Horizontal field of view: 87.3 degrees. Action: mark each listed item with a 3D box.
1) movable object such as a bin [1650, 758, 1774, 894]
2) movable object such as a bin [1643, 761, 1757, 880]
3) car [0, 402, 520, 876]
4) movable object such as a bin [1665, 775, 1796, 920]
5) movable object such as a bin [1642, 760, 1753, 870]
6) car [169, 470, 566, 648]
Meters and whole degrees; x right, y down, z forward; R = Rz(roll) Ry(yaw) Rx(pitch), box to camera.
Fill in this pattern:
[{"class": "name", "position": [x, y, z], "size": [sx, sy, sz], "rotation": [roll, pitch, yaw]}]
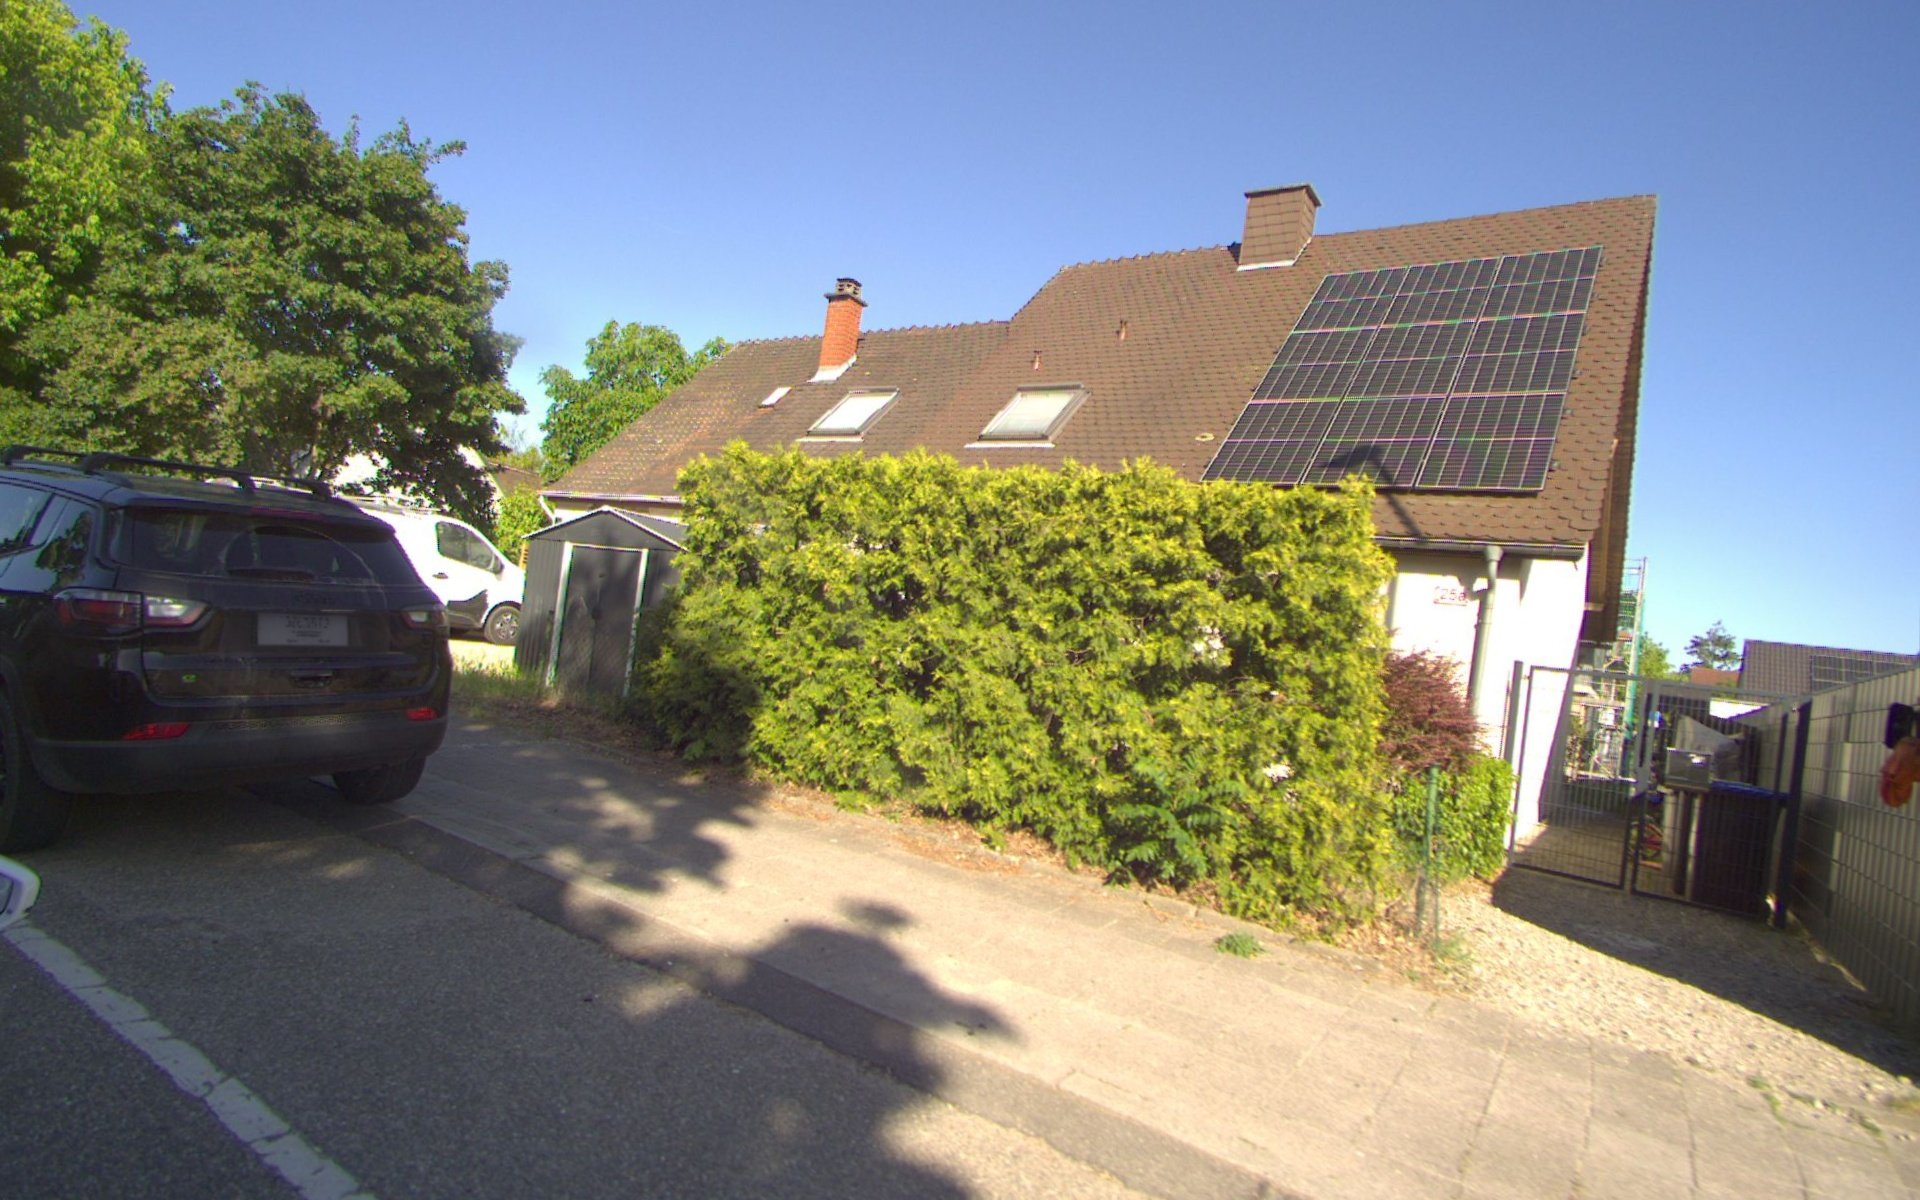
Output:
[{"class": "movable object such as a bin", "position": [7.504, 2.222, 10.082], "size": [0.792, 1.130, 0.949], "rotation": [7, -3, 31]}, {"class": "movable object such as a bin", "position": [8.231, 2.429, 11.239], "size": [0.834, 1.098, 0.954], "rotation": [7, -3, 31]}, {"class": "car", "position": [-4.640, 0.039, 5.515], "size": [4.222, 1.744, 1.782], "rotation": [6, -2, 30]}, {"class": "movable object such as a bin", "position": [6.524, 2.066, 8.563], "size": [0.699, 1.011, 0.804], "rotation": [7, -3, 31]}, {"class": "movable object such as a bin", "position": [8.991, 2.597, 12.316], "size": [0.892, 1.098, 1.119], "rotation": [7, -3, 31]}, {"class": "car", "position": [-8.905, -0.515, 15.568], "size": [2.109, 2.006, 4.686], "rotation": [6, -3, 34]}]
